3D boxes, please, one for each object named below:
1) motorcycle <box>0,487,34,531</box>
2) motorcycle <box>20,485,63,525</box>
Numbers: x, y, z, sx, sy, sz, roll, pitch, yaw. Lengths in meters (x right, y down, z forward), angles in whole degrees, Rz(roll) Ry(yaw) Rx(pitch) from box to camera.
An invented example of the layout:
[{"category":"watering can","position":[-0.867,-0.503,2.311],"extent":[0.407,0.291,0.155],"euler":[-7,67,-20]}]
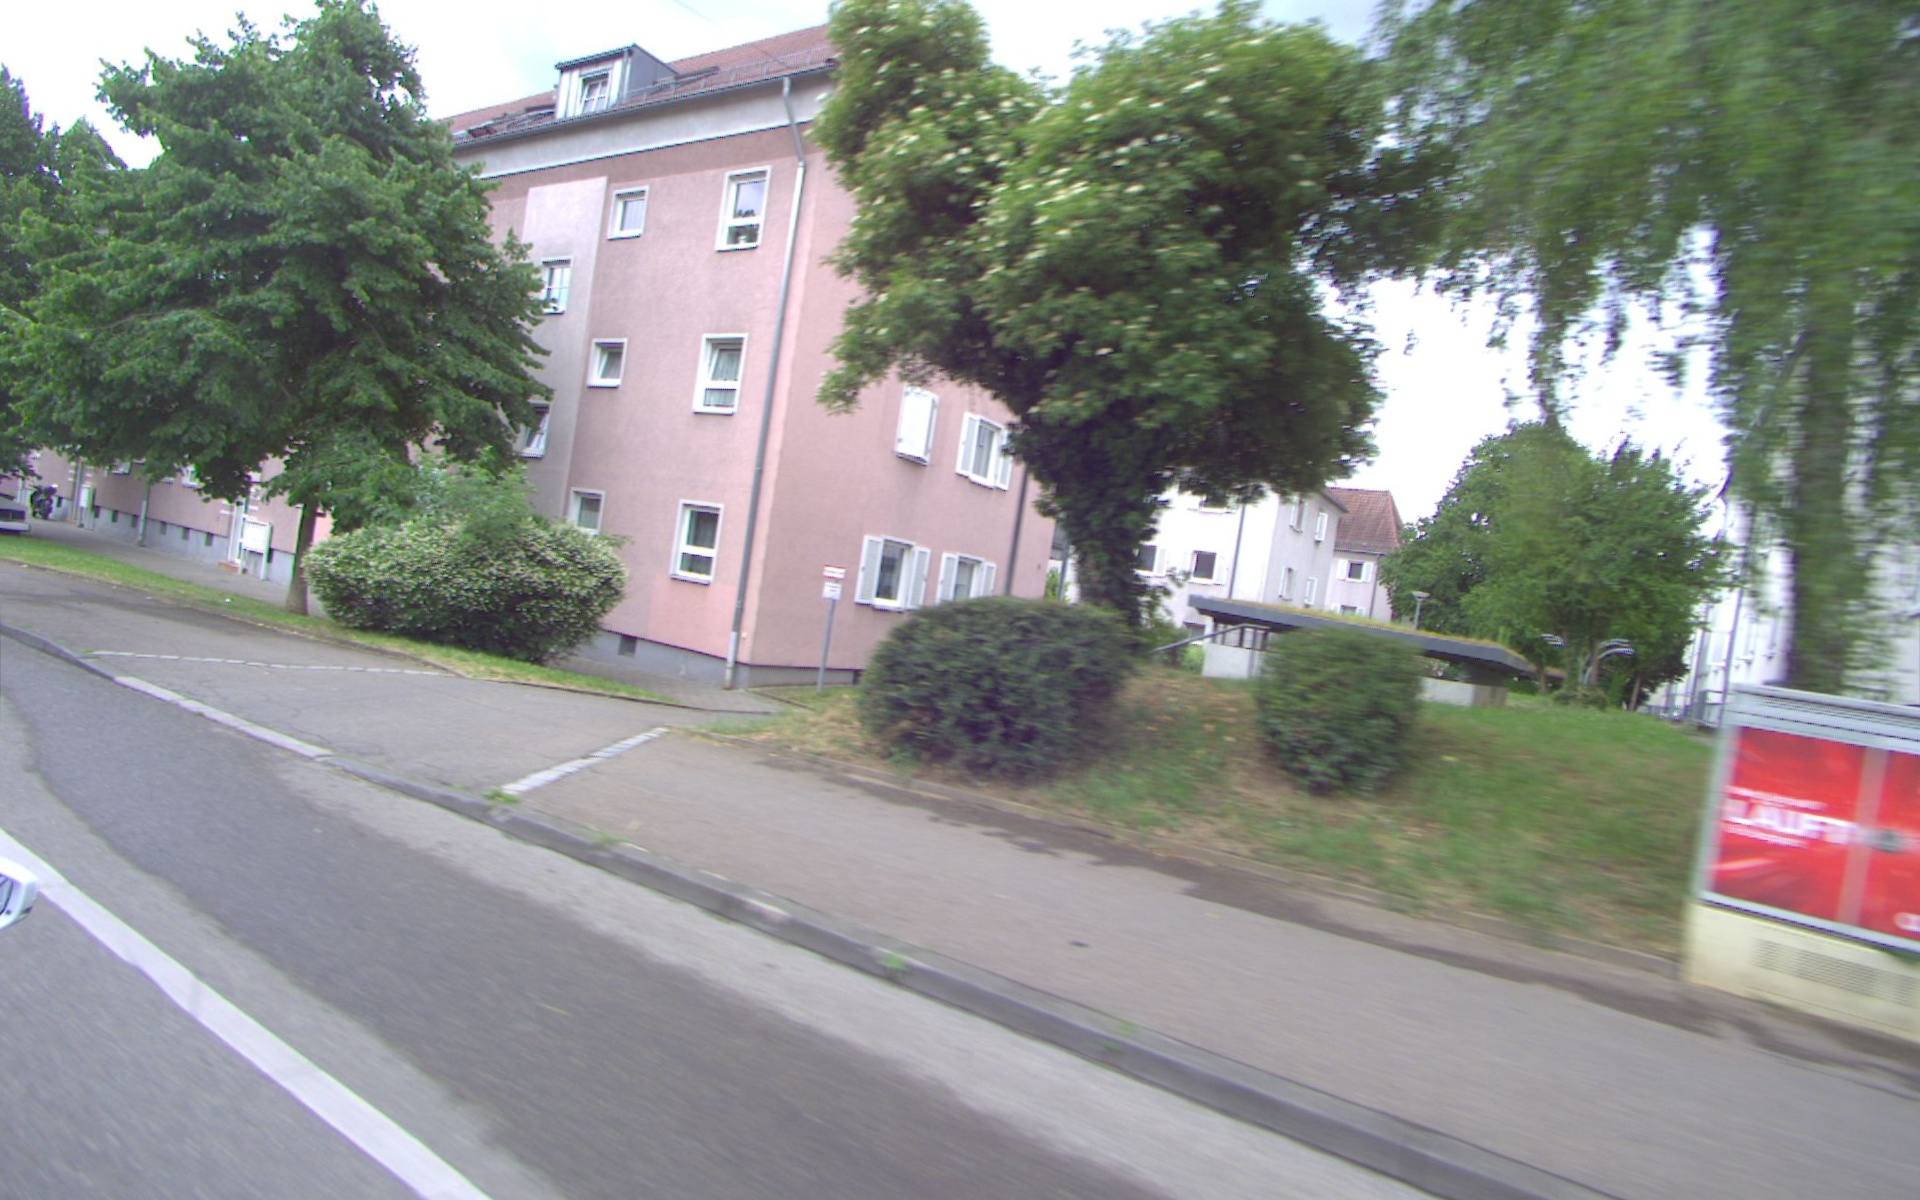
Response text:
[{"category":"motorcycle","position":[-38.060,-3.672,40.316],"extent":[2.509,1.588,0.732],"euler":[7,-1,34]},{"category":"motorcycle","position":[-33.125,-3.428,36.268],"extent":[1.935,1.242,0.591],"euler":[7,-1,33]}]
